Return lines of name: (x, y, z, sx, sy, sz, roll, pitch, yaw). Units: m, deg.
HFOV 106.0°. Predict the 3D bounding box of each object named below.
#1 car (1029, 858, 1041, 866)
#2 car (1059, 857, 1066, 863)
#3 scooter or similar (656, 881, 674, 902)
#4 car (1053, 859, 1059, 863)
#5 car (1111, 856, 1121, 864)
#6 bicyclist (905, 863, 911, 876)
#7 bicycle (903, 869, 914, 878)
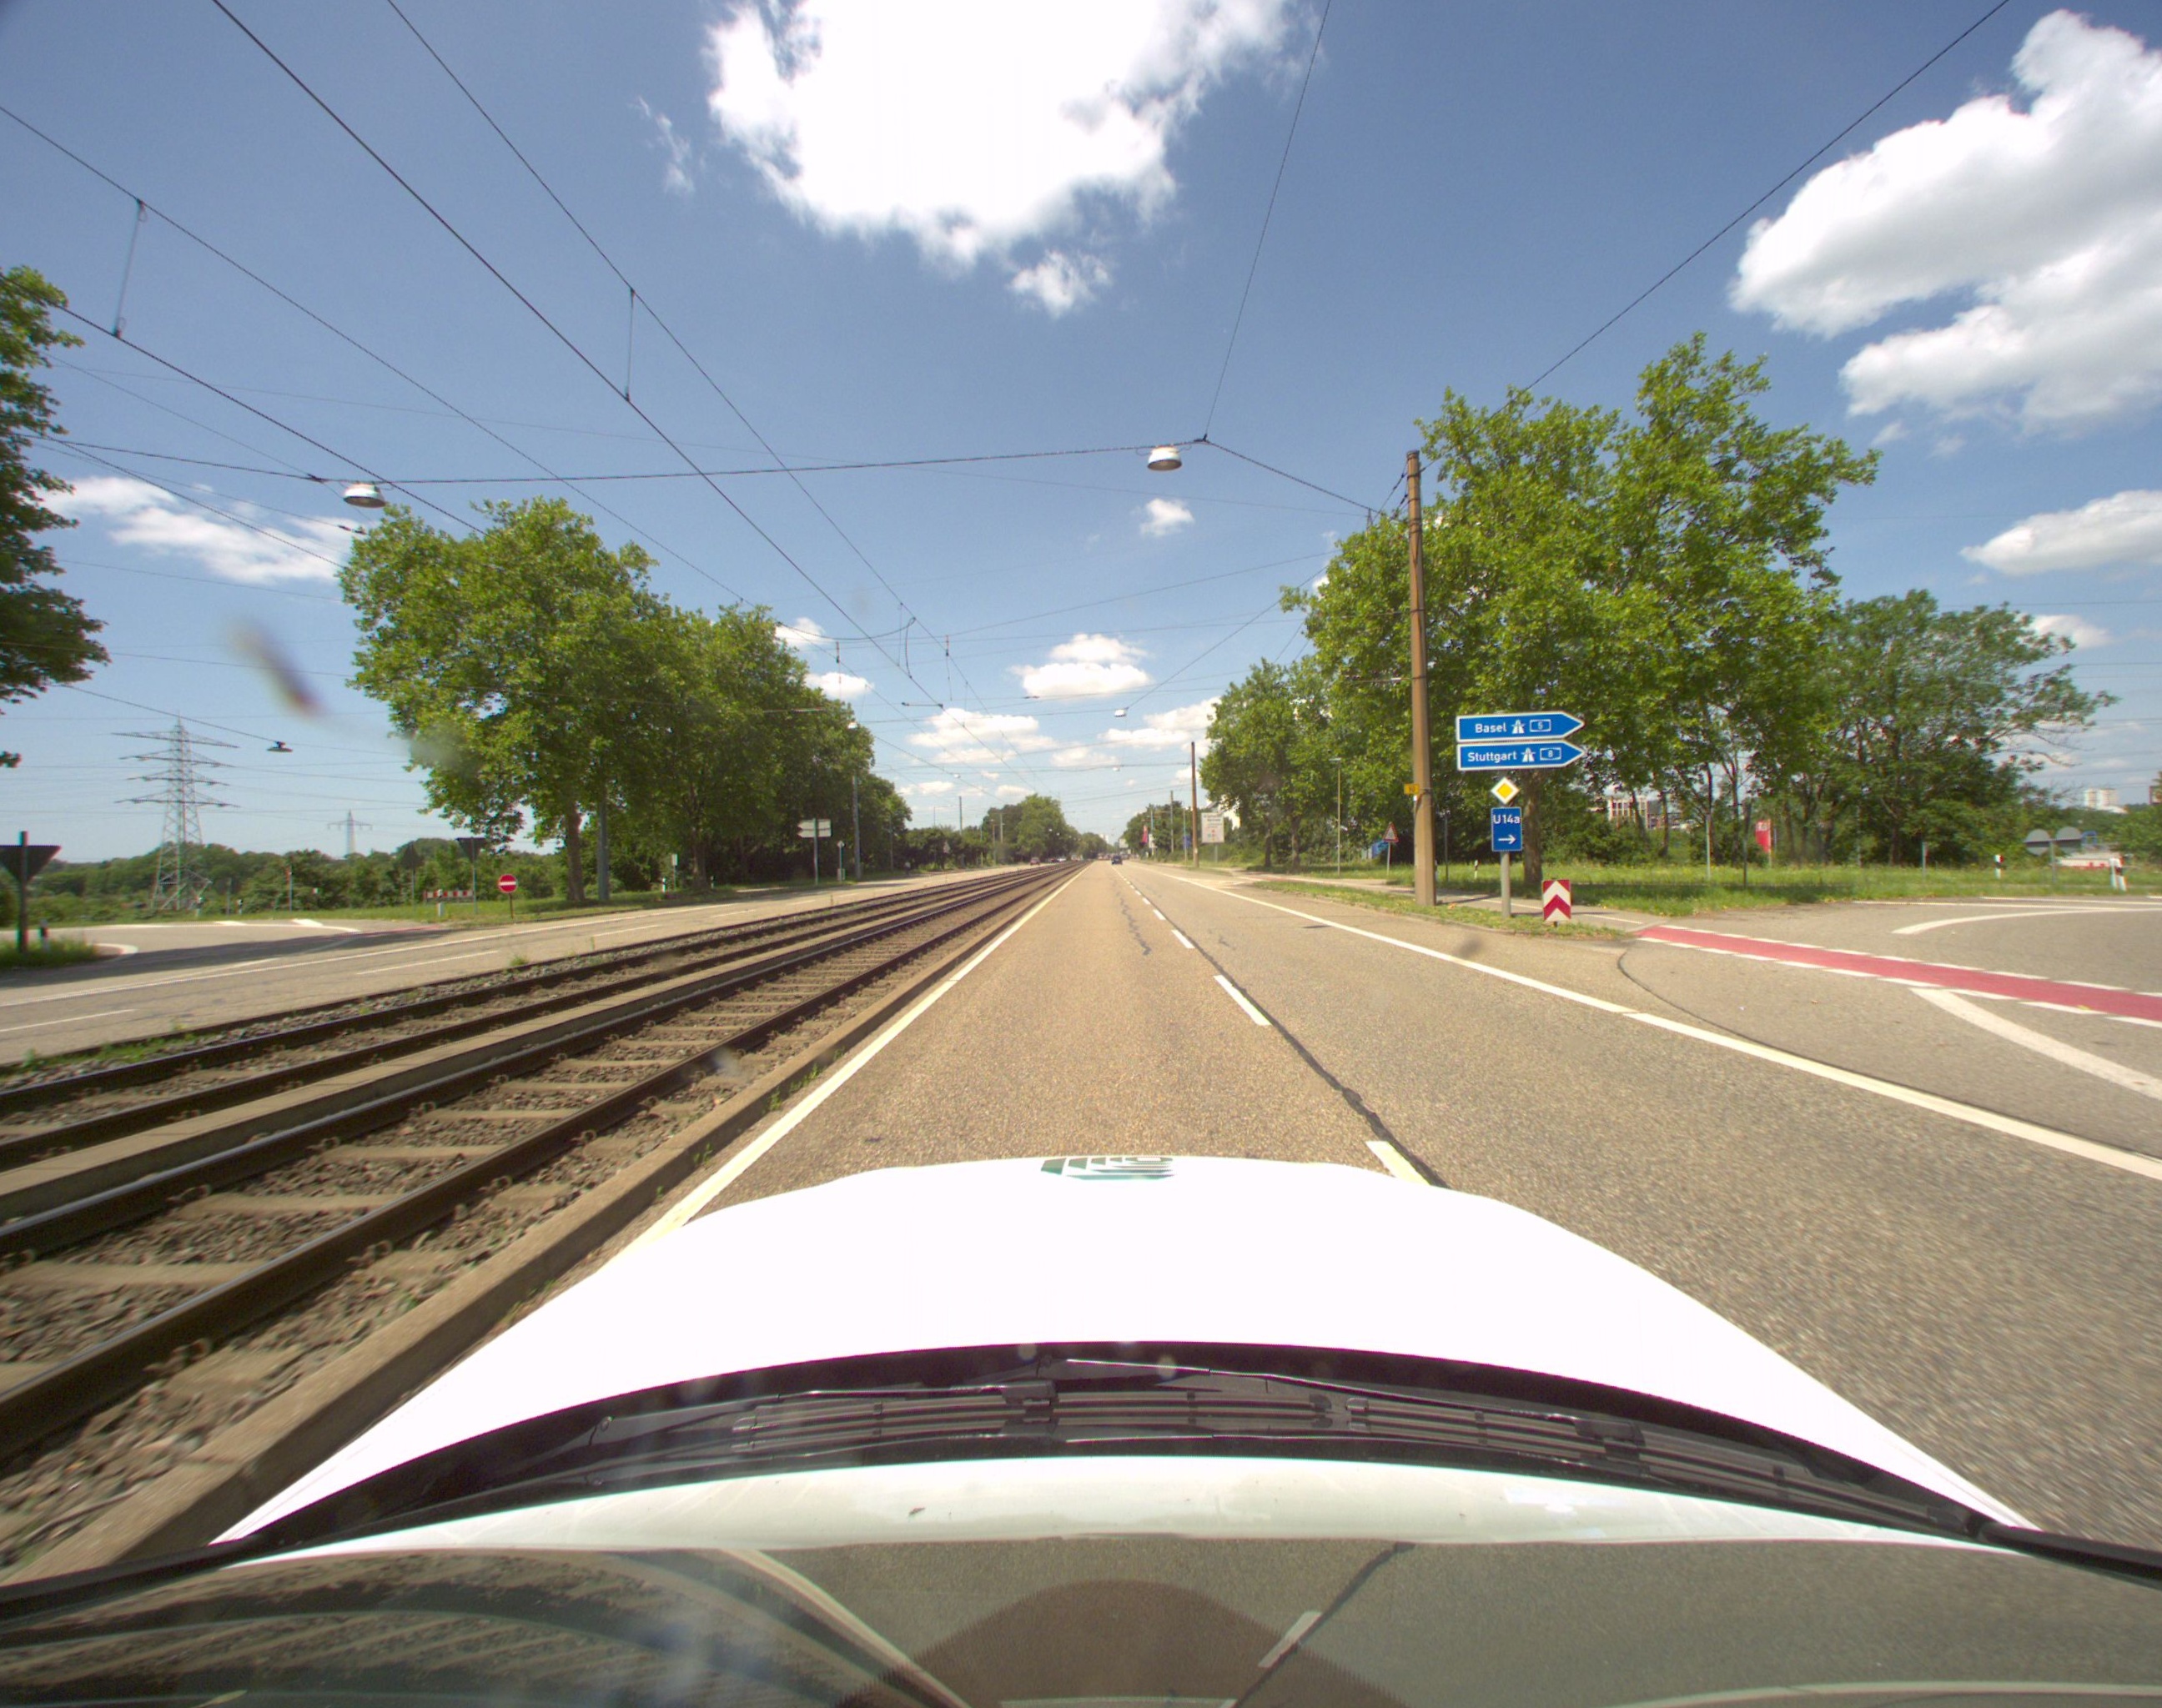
car: (-9.382, 1.630, 166.166, 1.868, 1.332, 3.919, -3, 0, 2)
car: (-4.834, 1.488, 214.231, 1.709, 1.428, 3.902, -2, 0, 2)
scooter or similar: (-21.397, 1.935, 41.897, 0.297, 1.022, 0.999, 1, 0, 9)
car: (-7.111, 1.992, 231.987, 1.595, 1.273, 3.838, -2, 0, 2)
car: (5.948, 1.029, 137.922, 1.581, 1.343, 3.272, -2, 0, 0)
bicyclist: (-17.793, 1.596, 83.720, 0.452, 1.272, 0.398, -2, 0, 3)
bicycle: (-17.772, 1.967, 83.810, 0.513, 0.857, 1.933, -2, 0, 4)
